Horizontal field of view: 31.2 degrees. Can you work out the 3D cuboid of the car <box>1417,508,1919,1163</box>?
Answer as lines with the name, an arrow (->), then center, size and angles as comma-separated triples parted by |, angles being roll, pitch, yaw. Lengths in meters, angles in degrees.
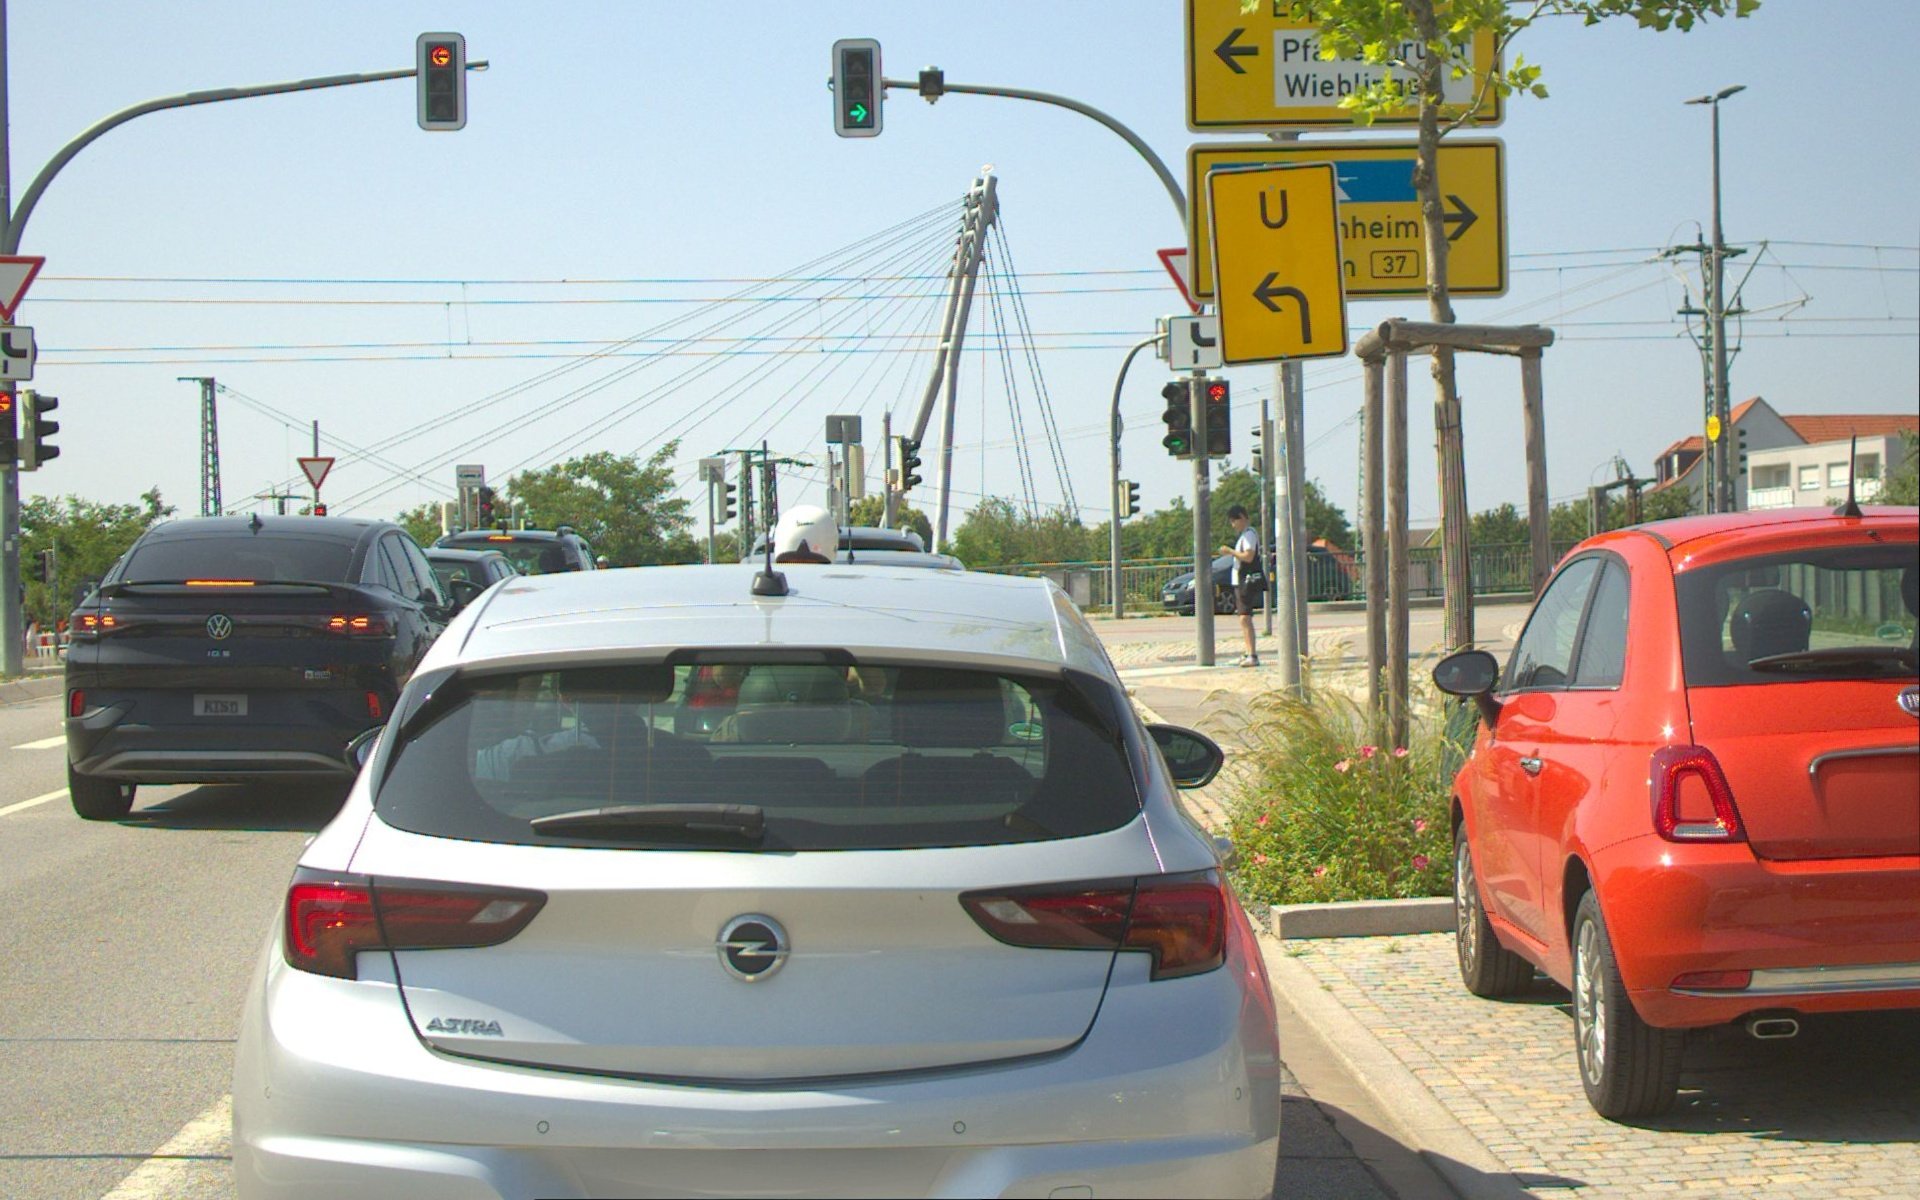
car -> 2.334, 0.511, 9.742 | 1.610, 1.491, 3.352 | -2, 1, 1

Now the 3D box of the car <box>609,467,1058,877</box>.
car -> -0.593, 0.267, 17.640 | 1.993, 1.814, 4.402 | 1, 2, -1

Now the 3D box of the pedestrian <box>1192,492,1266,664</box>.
pedestrian -> 2.914, -0.240, 37.297 | 0.647, 1.830, 0.798 | -2, 0, -2

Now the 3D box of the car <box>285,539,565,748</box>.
car -> -3.920, 0.284, 25.698 | 1.575, 1.429, 3.786 | 1, 1, -1

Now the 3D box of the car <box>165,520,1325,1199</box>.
car -> -0.430, 0.607, 7.212 | 1.742, 1.473, 4.001 | 1, 1, -3

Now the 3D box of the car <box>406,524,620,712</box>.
car -> -4.079, 0.138, 31.816 | 1.649, 1.610, 3.821 | 1, 1, -3

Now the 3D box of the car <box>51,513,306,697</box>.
car -> -6.969, 0.024, 30.967 | 1.597, 1.542, 3.763 | 1, 1, -3

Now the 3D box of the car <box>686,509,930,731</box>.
car -> -1.104, 0.091, 26.594 | 1.724, 1.558, 4.000 | 1, 2, 0

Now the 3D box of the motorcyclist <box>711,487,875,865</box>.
motorcyclist -> -0.637, 0.278, 12.997 | 0.581, 1.384, 0.707 | 1, 0, -4

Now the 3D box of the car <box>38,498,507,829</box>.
car -> -3.731, 0.295, 19.396 | 1.801, 1.636, 4.366 | 1, 1, -1
